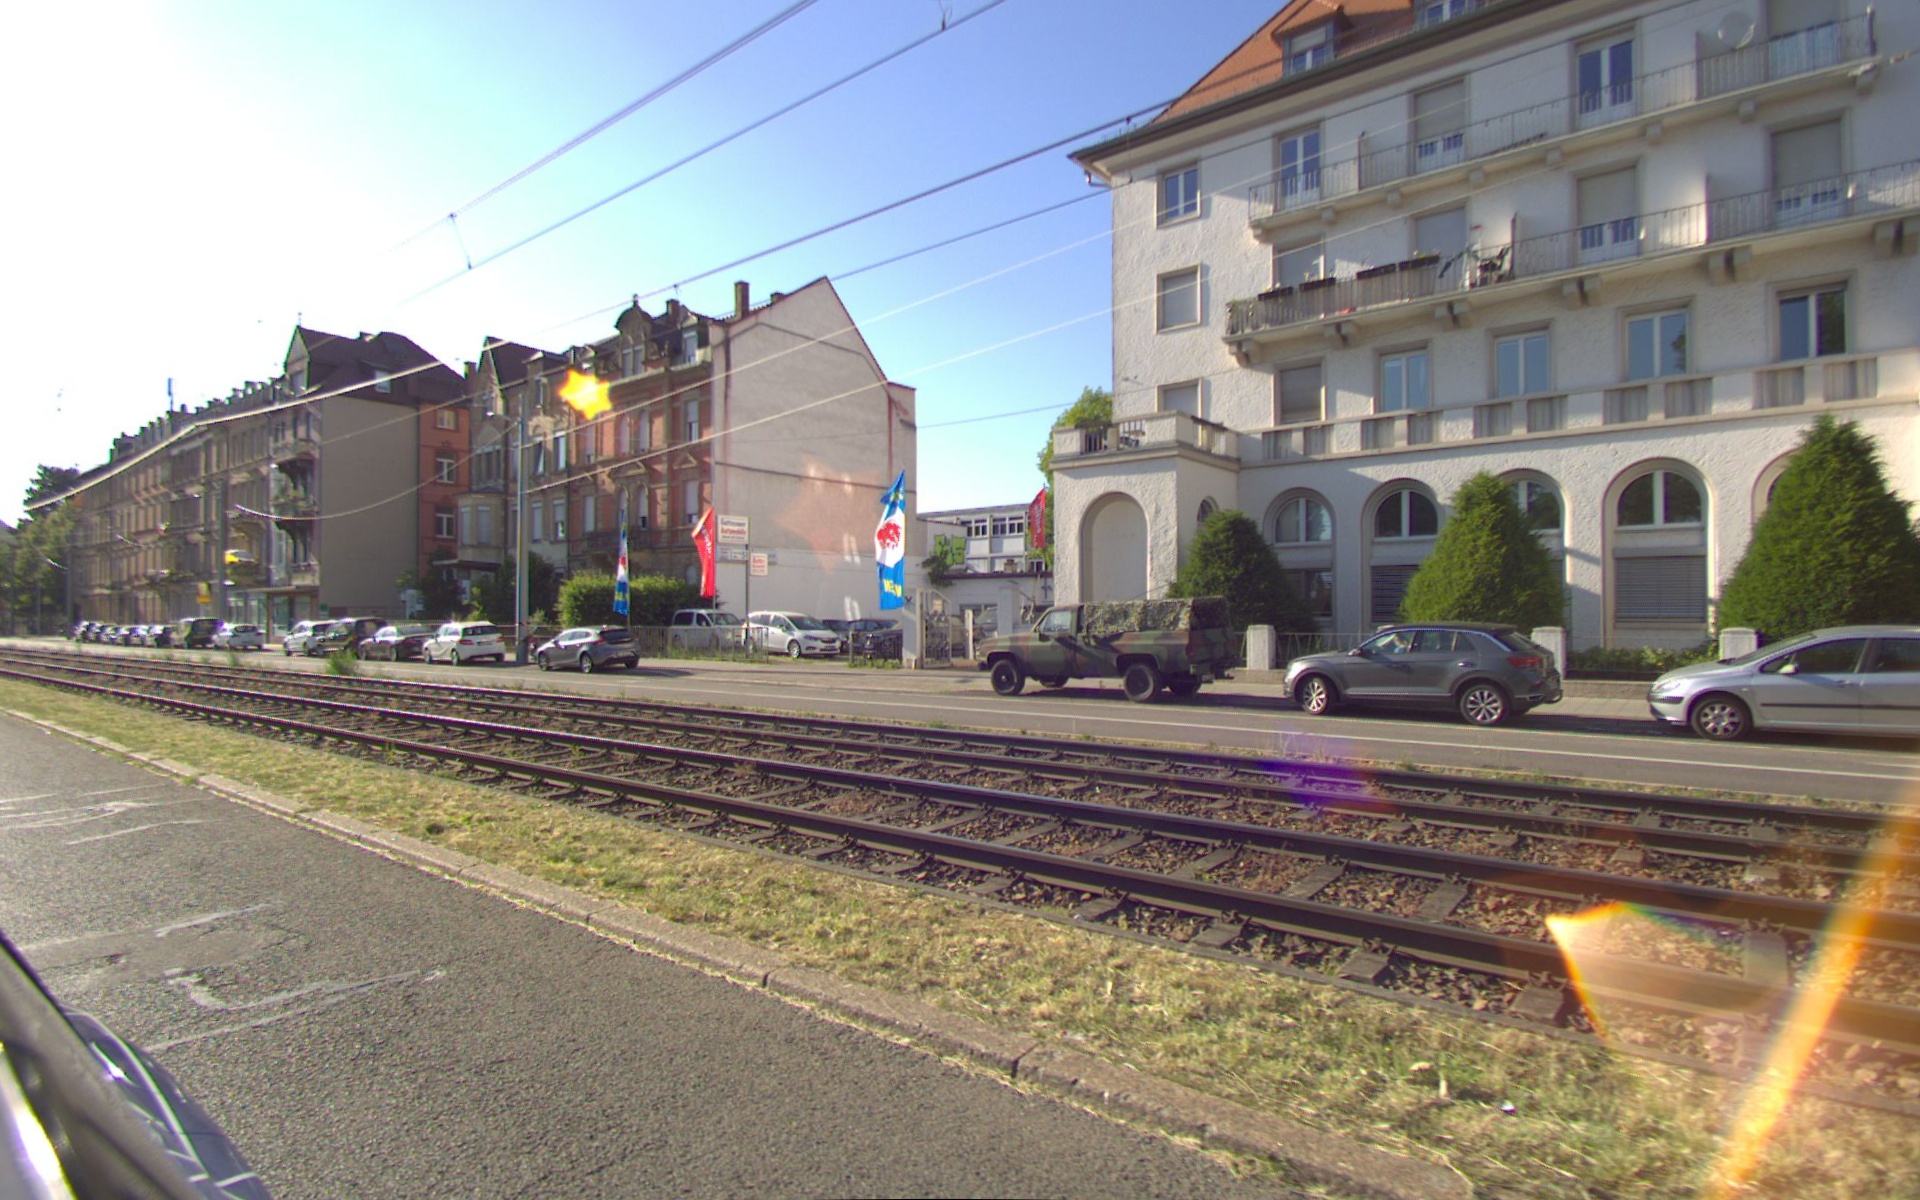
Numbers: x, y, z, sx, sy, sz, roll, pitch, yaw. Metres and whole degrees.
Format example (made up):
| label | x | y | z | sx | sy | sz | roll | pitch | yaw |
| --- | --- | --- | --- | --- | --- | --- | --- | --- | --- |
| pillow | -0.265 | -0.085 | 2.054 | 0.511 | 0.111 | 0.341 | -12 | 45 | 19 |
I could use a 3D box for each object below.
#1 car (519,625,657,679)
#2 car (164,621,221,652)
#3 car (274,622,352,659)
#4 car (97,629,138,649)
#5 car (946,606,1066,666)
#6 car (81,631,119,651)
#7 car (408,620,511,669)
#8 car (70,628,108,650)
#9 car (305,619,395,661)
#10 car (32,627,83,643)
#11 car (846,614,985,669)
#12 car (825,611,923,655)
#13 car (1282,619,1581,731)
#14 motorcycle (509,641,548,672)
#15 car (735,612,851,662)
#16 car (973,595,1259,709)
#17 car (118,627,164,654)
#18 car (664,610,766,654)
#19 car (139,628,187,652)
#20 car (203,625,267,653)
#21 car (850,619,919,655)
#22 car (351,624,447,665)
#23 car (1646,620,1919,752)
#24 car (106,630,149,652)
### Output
| label | x | y | z | sx | sy | sz | roll | pitch | yaw |
| --- | --- | --- | --- | --- | --- | --- | --- | --- | --- |
| car | -12.178 | 1.650 | 33.021 | 4.835 | 1.471 | 1.903 | -2 | 3 | 38 |
| car | -47.178 | 2.218 | 62.200 | 4.722 | 1.821 | 1.644 | -1 | 0 | 38 |
| car | -31.871 | 1.955 | 49.807 | 4.623 | 1.696 | 1.901 | -1 | -1 | 40 |
| car | -63.161 | 2.908 | 75.861 | 3.977 | 1.457 | 1.643 | -1 | 0 | 40 |
| car | 1.682 | 1.289 | 36.343 | 4.020 | 2.018 | 1.991 | 1 | -3 | -41 |
| car | -67.189 | 3.221 | 79.033 | 3.762 | 1.457 | 1.643 | -1 | 0 | 40 |
| car | -19.328 | 1.673 | 39.000 | 4.840 | 1.707 | 1.900 | -2 | 0 | 42 |
| car | -70.755 | 3.156 | 82.221 | 4.629 | 1.655 | 1.775 | -1 | 0 | 42 |
| car | -28.082 | 1.827 | 46.553 | 4.488 | 1.794 | 1.904 | -2 | 0 | 36 |
| car | -100.137 | 3.878 | 112.350 | 3.931 | 1.521 | 1.806 | -1 | 1 | -29 |
| car | -1.384 | 1.331 | 32.224 | 4.077 | 1.646 | 1.954 | 1 | -4 | -41 |
| car | -3.632 | 1.329 | 42.405 | 4.000 | 1.698 | 1.905 | 0 | 1 | 43 |
| car | 7.587 | 1.110 | 16.530 | 4.157 | 1.518 | 1.618 | 0 | 1 | 42 |
| motorcycle | -15.506 | 2.004 | 36.332 | 0.815 | 0.961 | 2.156 | -1 | 1 | -36 |
| car | -6.285 | 1.351 | 37.796 | 4.562 | 1.668 | 1.883 | 1 | -1 | 43 |
| car | 3.067 | 0.979 | 20.887 | 5.589 | 2.025 | 2.055 | -1 | 0 | 42 |
| car | -55.362 | 2.731 | 68.404 | 3.977 | 1.749 | 1.643 | -1 | 0 | 40 |
| car | -10.151 | 1.296 | 41.786 | 4.562 | 1.668 | 1.883 | 1 | -1 | 43 |
| car | -51.653 | 2.573 | 65.551 | 3.977 | 1.457 | 1.643 | -1 | 0 | 40 |
| car | -41.914 | 2.215 | 58.476 | 4.623 | 1.550 | 1.901 | -1 | -1 | 40 |
| car | -3.701 | 1.752 | 49.065 | 1.769 | 1.521 | 4.013 | -1 | 1 | -29 |
| car | -23.677 | 1.847 | 42.652 | 4.838 | 1.572 | 1.901 | -2 | 0 | 40 |
| car | 11.591 | 1.063 | 13.375 | 3.998 | 1.521 | 1.776 | -1 | 0 | 41 |
| car | -59.729 | 2.894 | 72.573 | 3.977 | 1.457 | 1.643 | -1 | 0 | 40 |
